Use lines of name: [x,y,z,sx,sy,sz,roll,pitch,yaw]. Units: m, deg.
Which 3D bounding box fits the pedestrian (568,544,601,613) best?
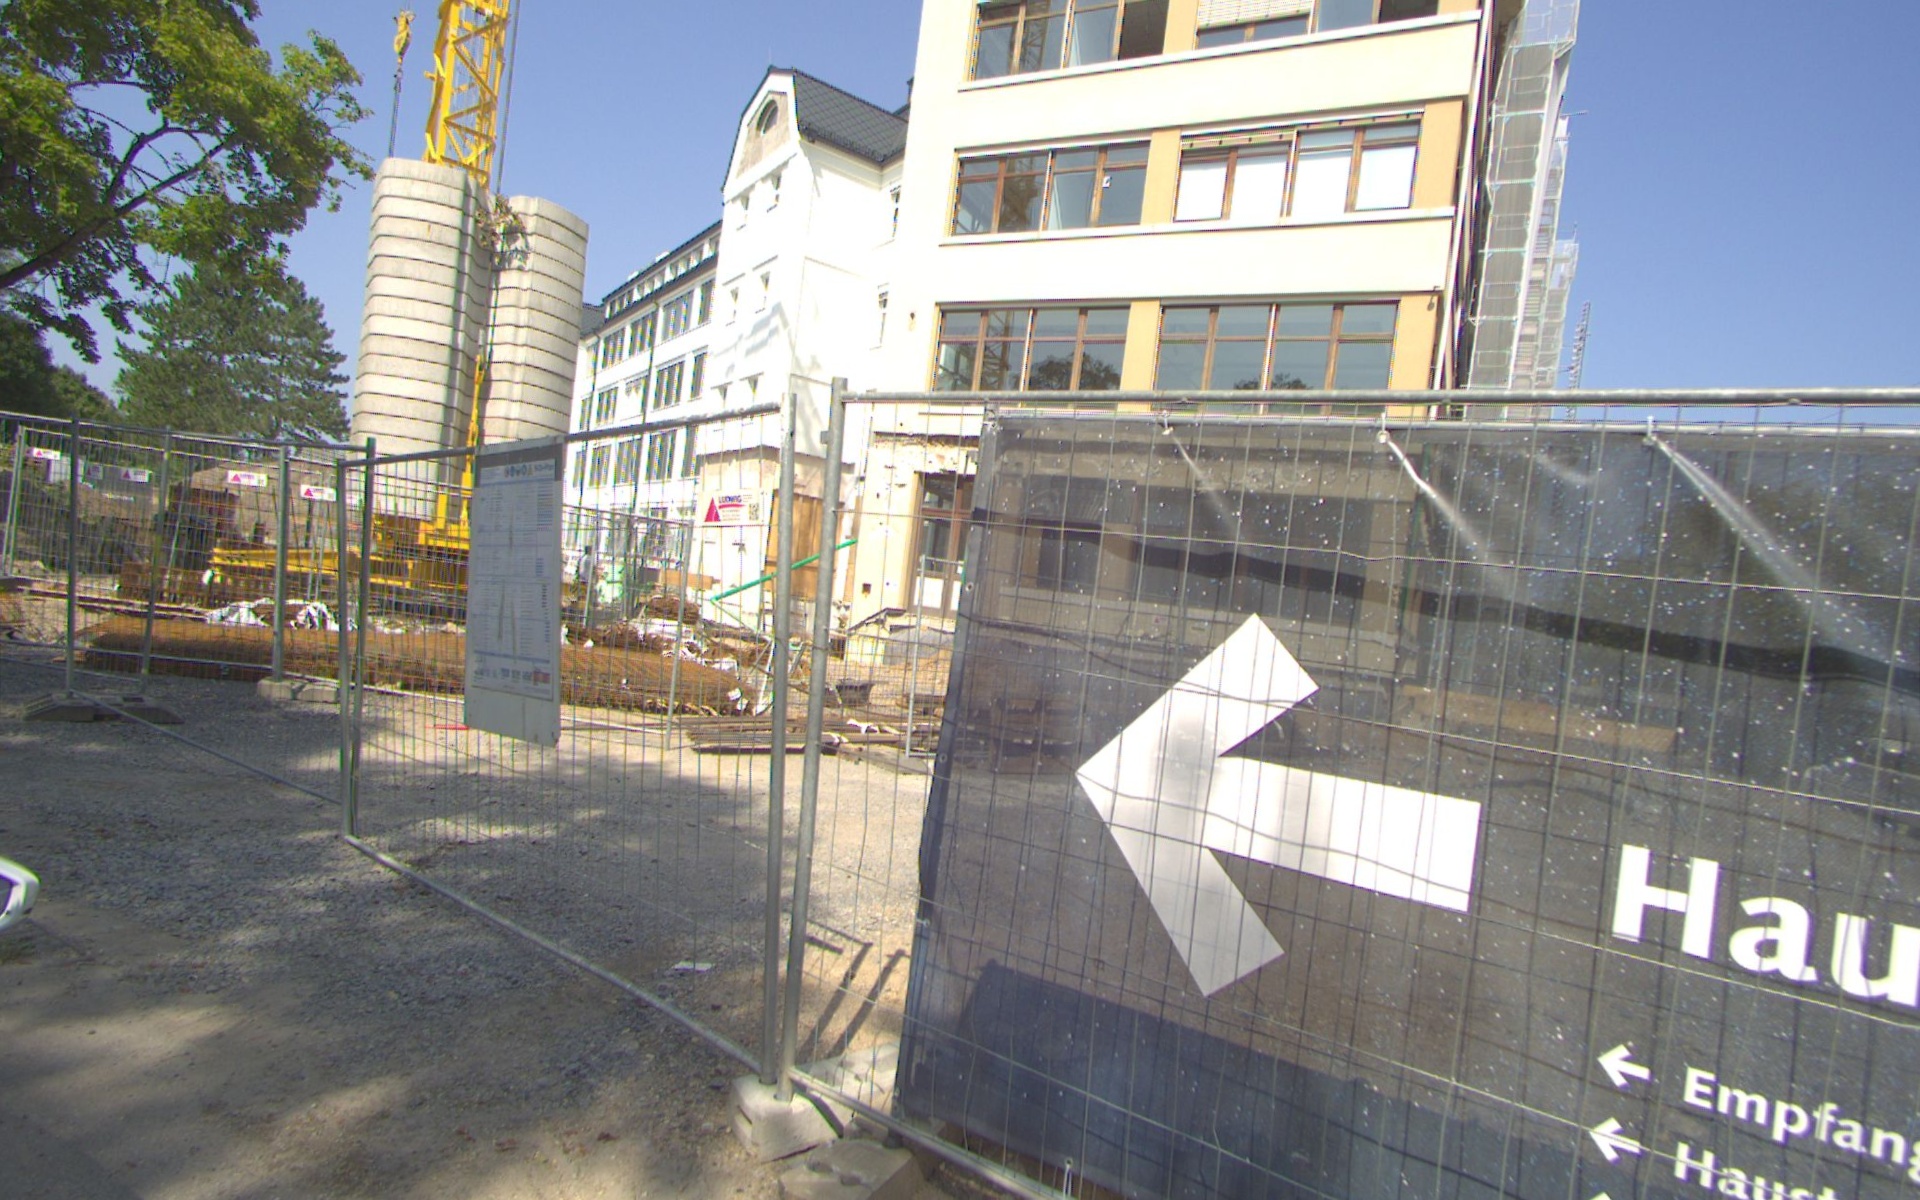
pedestrian: [-8.787,-0.508,23.521,0.518,1.547,0.492,7,1,-28]
